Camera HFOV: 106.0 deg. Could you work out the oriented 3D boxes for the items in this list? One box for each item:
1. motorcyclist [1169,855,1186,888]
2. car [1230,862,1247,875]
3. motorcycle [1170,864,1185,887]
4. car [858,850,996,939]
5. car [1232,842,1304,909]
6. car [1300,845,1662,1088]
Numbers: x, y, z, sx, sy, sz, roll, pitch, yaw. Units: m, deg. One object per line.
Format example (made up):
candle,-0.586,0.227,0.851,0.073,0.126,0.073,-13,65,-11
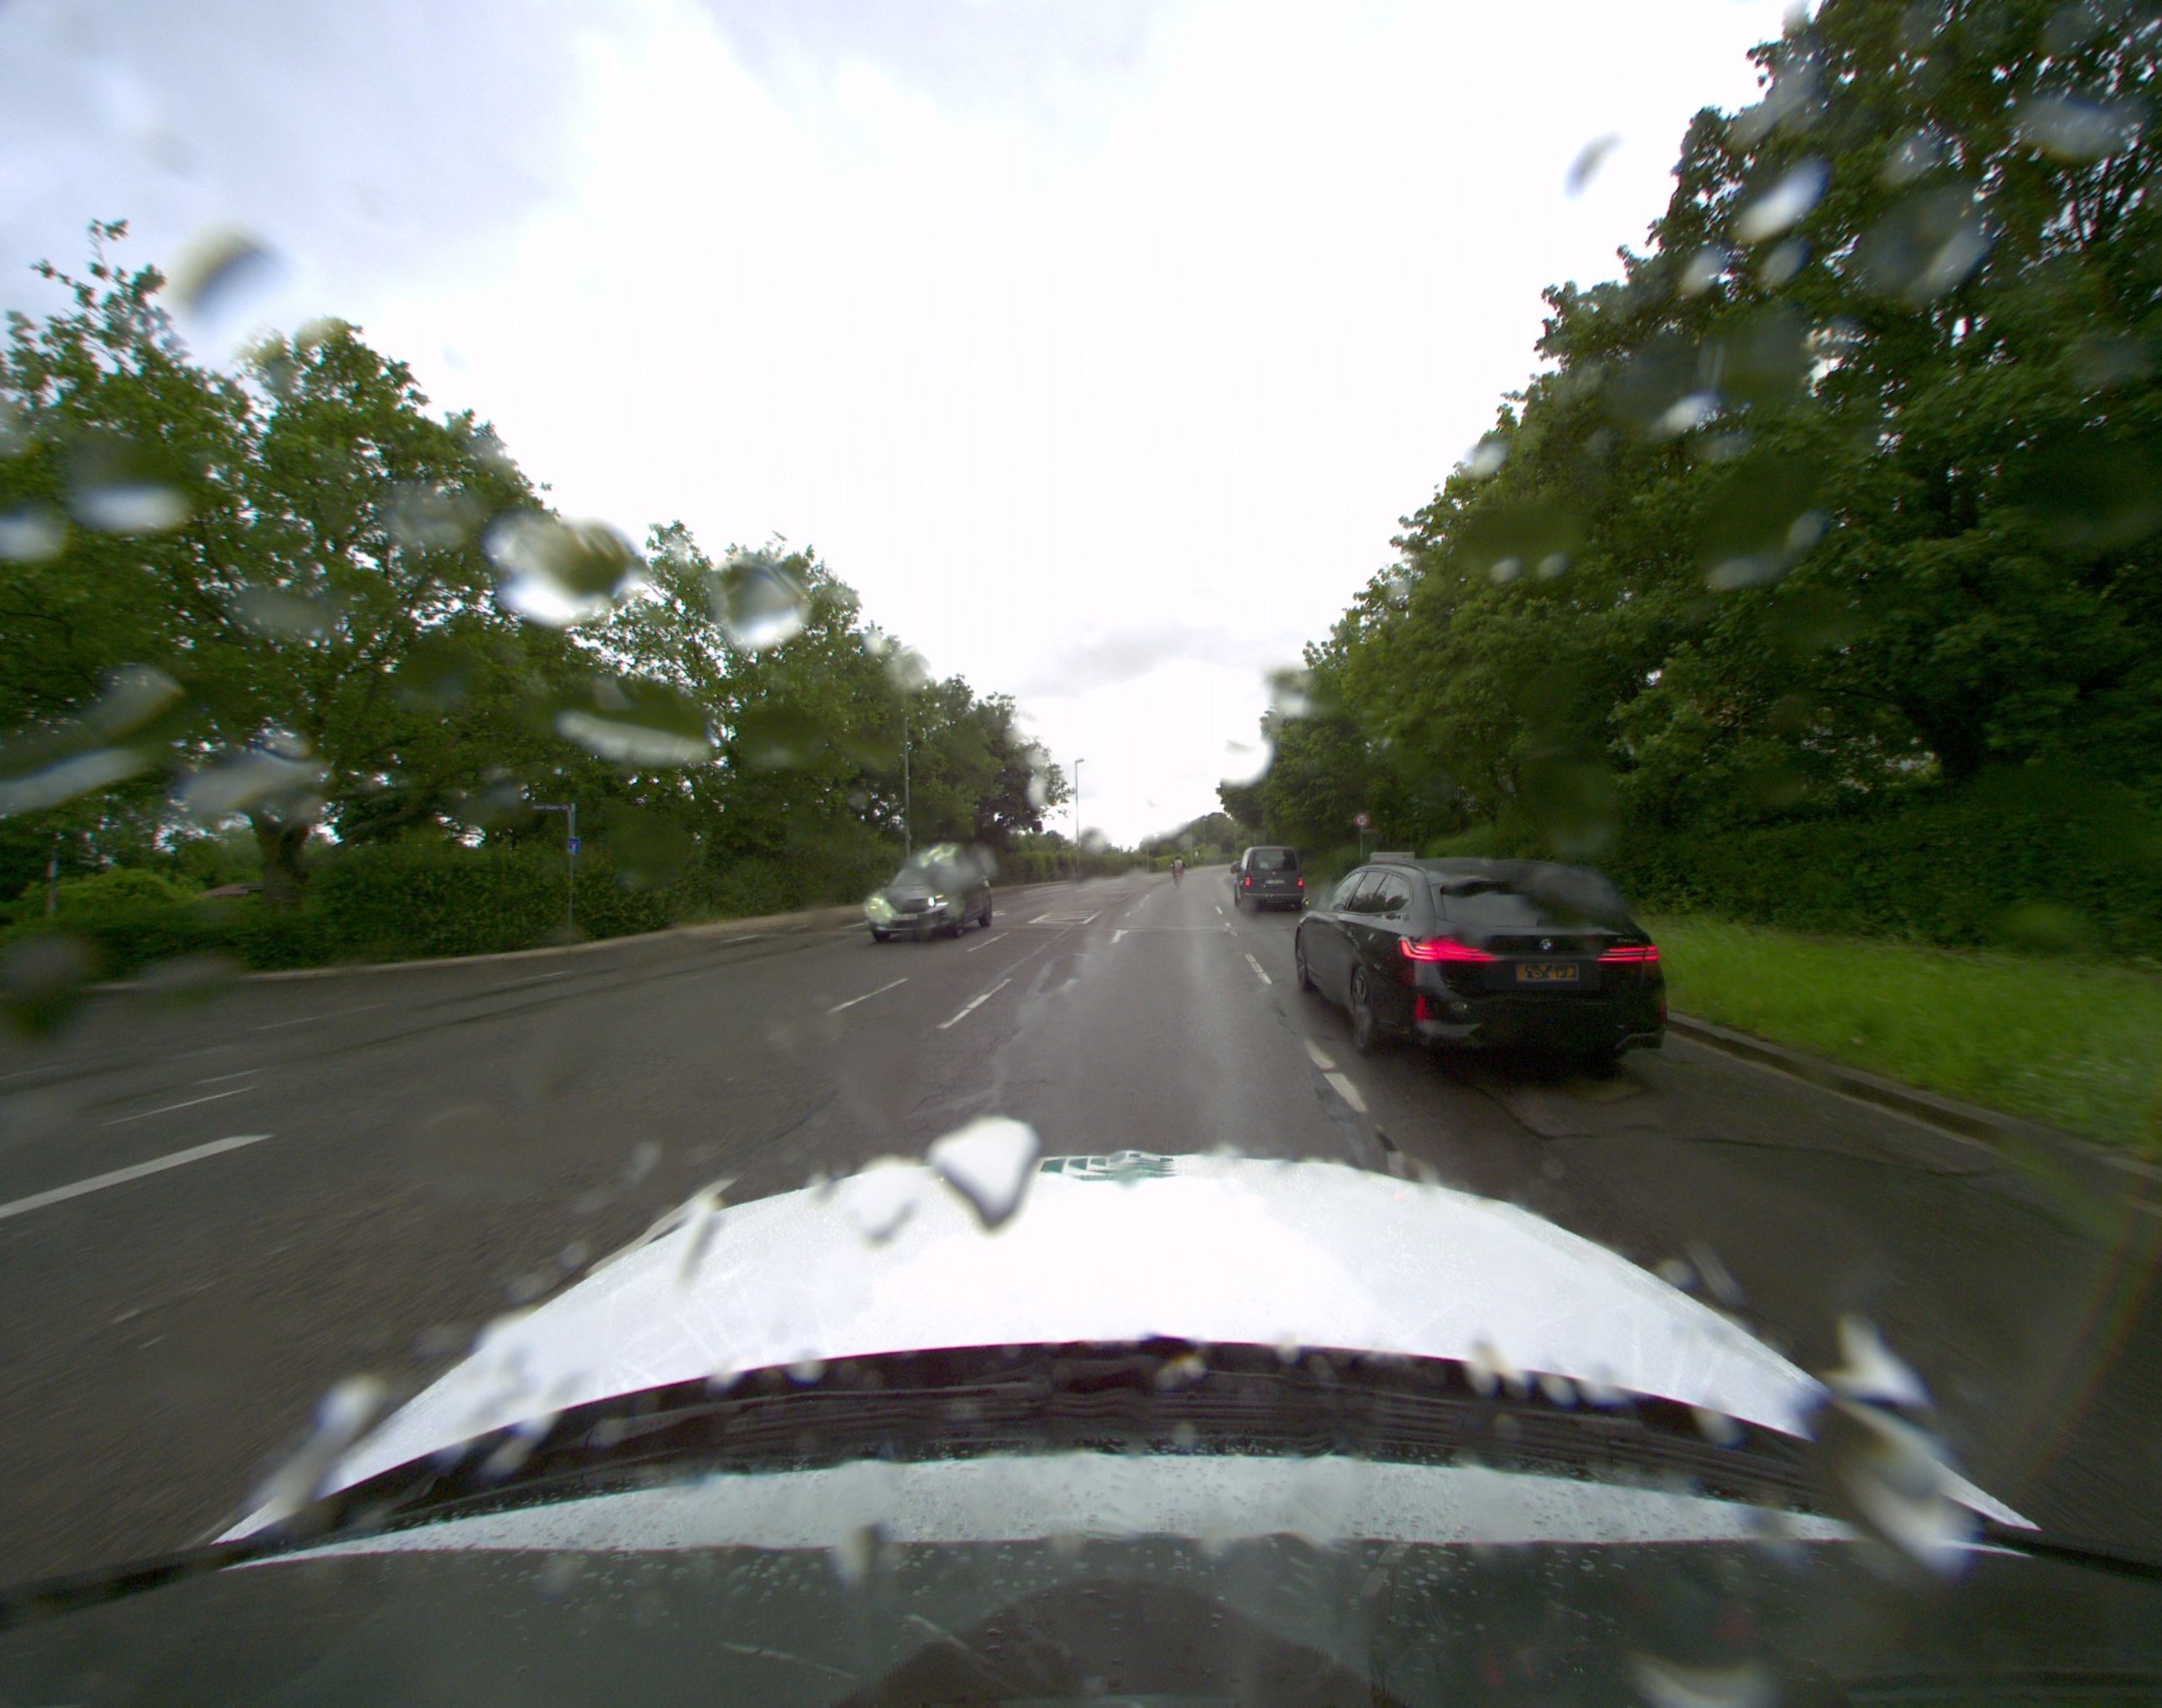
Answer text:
motorcyclist,4.911,0.884,41.372,0.840,1.647,0.469,-1,0,7
car,18.961,1.758,97.801,2.001,1.415,4.501,0,1,12
motorcycle,4.902,1.088,41.398,0.737,1.119,1.430,0,1,8
car,-3.099,0.773,17.191,1.786,1.603,3.738,-3,0,6
car,5.490,0.577,24.281,1.757,1.810,3.914,-1,1,8
car,3.045,0.729,7.079,1.754,1.536,3.681,-1,0,8
